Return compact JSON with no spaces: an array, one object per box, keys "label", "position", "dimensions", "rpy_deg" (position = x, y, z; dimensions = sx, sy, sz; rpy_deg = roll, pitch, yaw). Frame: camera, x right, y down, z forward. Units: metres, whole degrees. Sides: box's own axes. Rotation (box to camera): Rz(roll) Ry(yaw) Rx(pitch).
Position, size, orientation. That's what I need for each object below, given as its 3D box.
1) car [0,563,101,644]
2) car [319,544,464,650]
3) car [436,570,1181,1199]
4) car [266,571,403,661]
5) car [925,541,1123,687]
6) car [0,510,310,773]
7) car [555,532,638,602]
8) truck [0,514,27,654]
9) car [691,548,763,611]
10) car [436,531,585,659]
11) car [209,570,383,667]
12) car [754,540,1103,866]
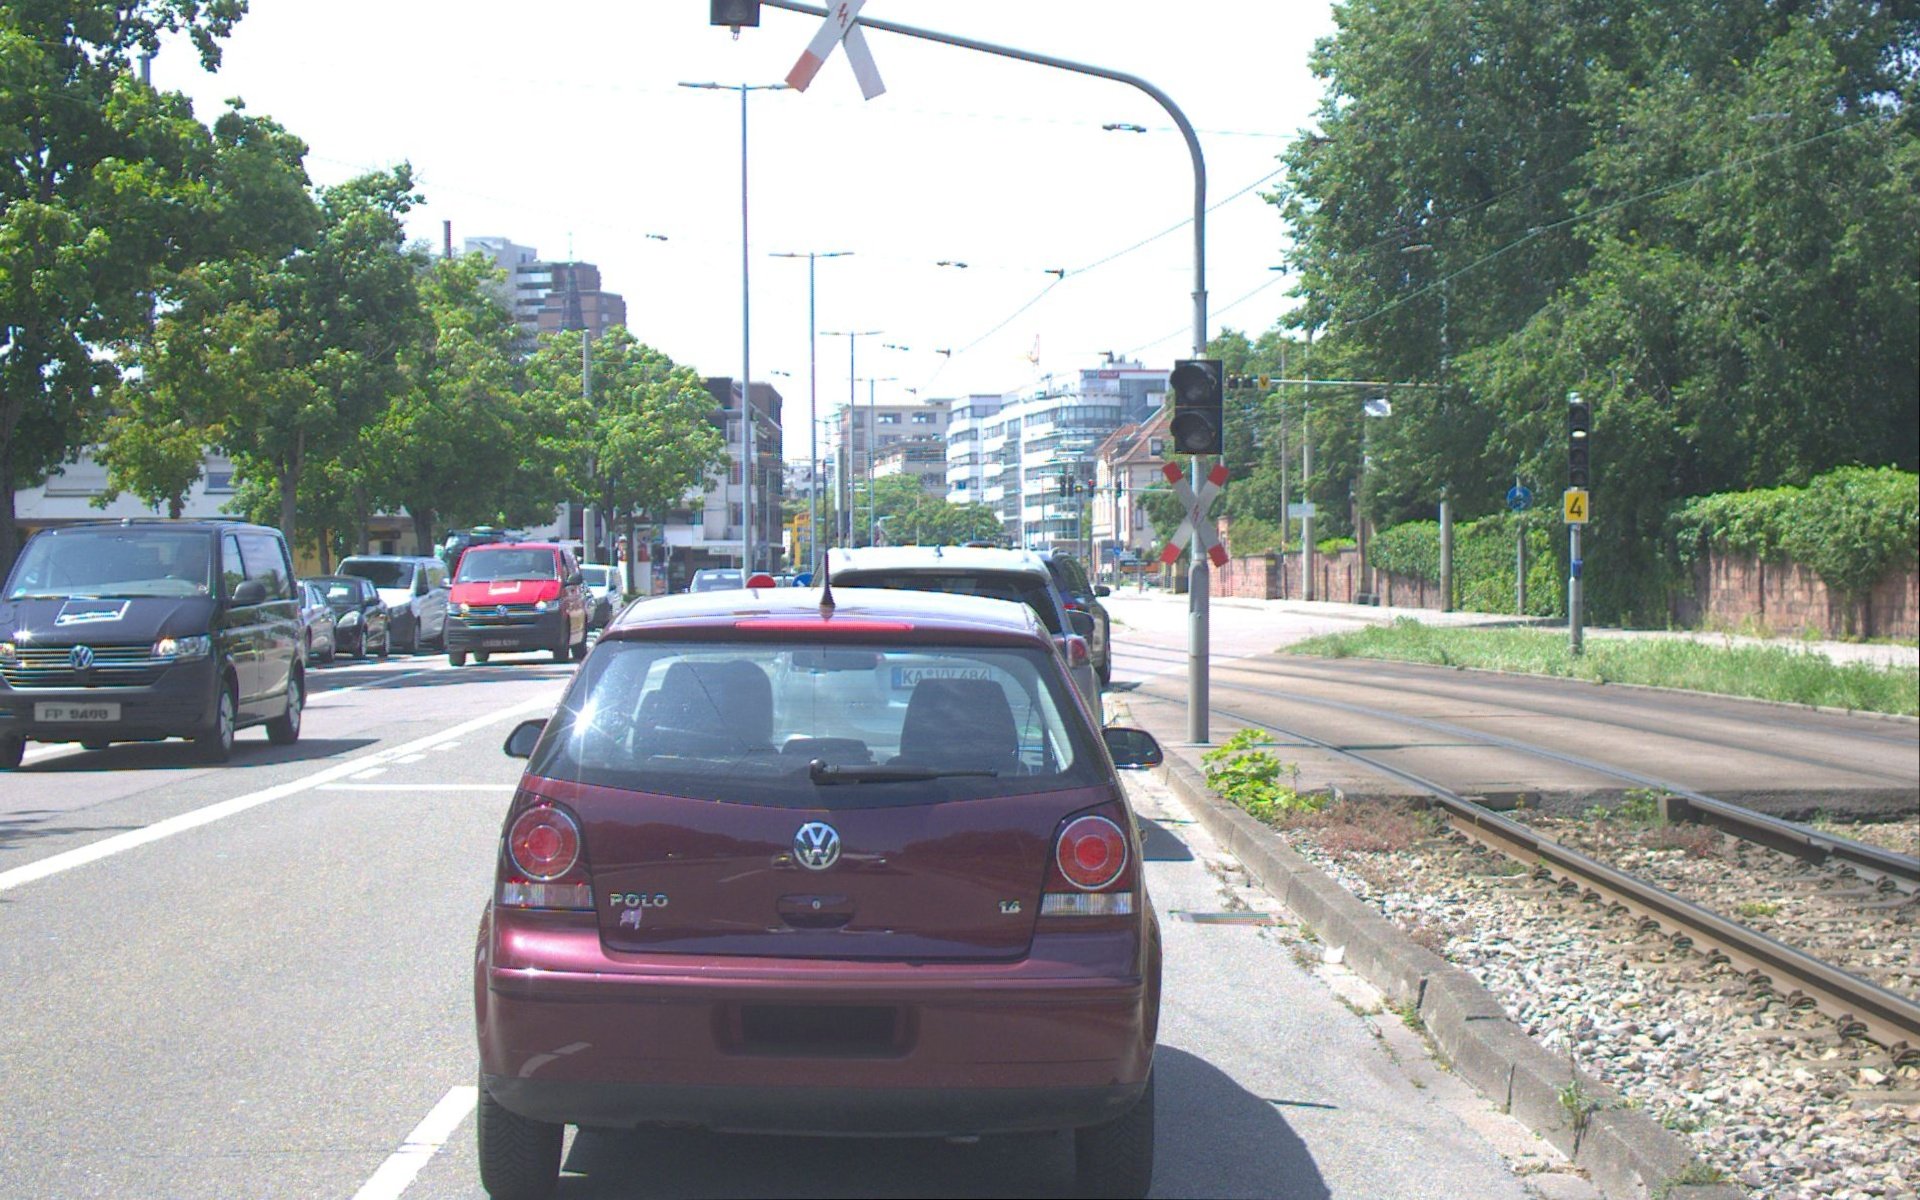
[{"label":"car","position":[-22.187,0.094,78.471],"dimensions":[4.718,1.807,1.797],"rpy_deg":[-1,1,-2]},{"label":"car","position":[-11.190,-0.086,67.988],"dimensions":[1.862,1.930,4.805],"rpy_deg":[3,1,2]},{"label":"car","position":[-0.365,0.681,9.508],"dimensions":[1.609,1.493,4.000],"rpy_deg":[1,1,-1]},{"label":"car","position":[-11.213,0.265,61.855],"dimensions":[1.614,1.479,3.784],"rpy_deg":[3,1,2]},{"label":"car","position":[0.812,0.137,40.703],"dimensions":[1.775,1.625,3.998],"rpy_deg":[1,1,9]},{"label":"car","position":[-6.634,0.284,27.777],"dimensions":[1.918,1.904,4.571],"rpy_deg":[-2,1,-1]},{"label":"car","position":[-10.928,-0.986,103.696],"dimensions":[1.875,1.959,5.165],"rpy_deg":[3,1,0]},{"label":"truck","position":[-21.536,-0.282,67.793],"dimensions":[5.578,2.750,2.432],"rpy_deg":[-1,1,1]},{"label":"car","position":[-6.459,-0.580,95.728],"dimensions":[1.737,1.651,4.067],"rpy_deg":[-1,1,-1]},{"label":"car","position":[-7.215,-0.104,55.571],"dimensions":[1.898,1.919,4.820],"rpy_deg":[-2,1,-2]},{"label":"car","position":[-10.952,0.268,57.037],"dimensions":[1.719,1.422,4.771],"rpy_deg":[-3,1,2]},{"label":"car","position":[-0.198,0.513,19.890],"dimensions":[1.795,1.677,4.000],"rpy_deg":[1,1,-1]}]
